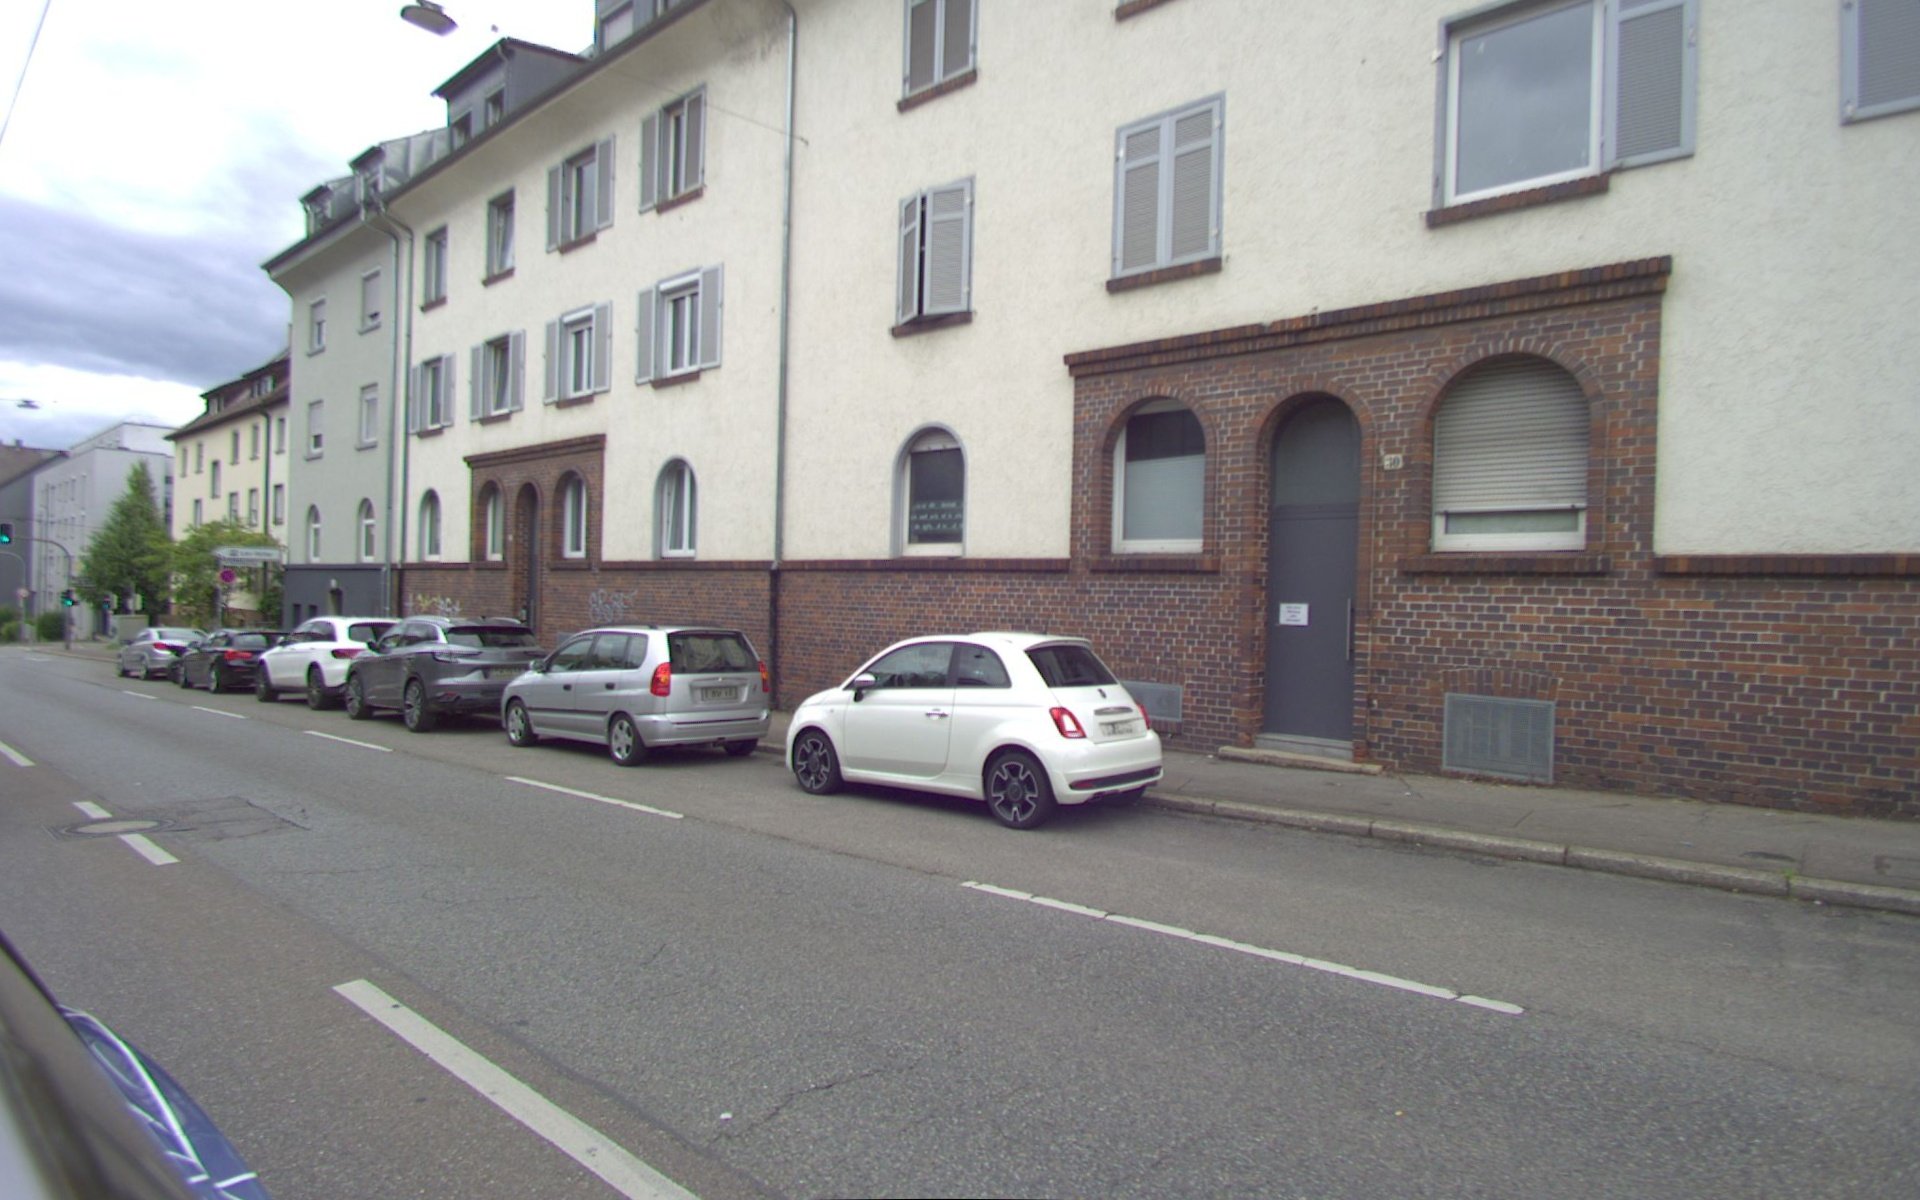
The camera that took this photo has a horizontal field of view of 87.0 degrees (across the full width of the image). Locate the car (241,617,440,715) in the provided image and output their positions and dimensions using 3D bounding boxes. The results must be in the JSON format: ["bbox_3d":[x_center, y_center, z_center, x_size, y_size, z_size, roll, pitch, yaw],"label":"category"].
[{"bbox_3d":[-11.758,1.168,19.092,4.640,1.634,1.826,-1,-3,40],"label":"car"}]

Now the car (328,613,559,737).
[{"bbox_3d":[-7.960,1.047,15.390,4.502,1.611,1.708,-2,-3,43],"label":"car"}]

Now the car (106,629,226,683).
[{"bbox_3d":[-21.816,1.490,27.750,4.333,1.384,1.709,-1,-3,40],"label":"car"}]

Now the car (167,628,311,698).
[{"bbox_3d":[-16.393,1.363,22.947,4.189,1.440,1.709,-2,-3,41],"label":"car"}]

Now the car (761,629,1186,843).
[{"bbox_3d":[-0.003,1.007,8.877,3.602,1.486,1.531,-1,-3,41],"label":"car"}]

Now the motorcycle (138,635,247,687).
[{"bbox_3d":[-19.364,1.542,25.599,0.802,1.245,2.030,-1,-4,23],"label":"motorcycle"}]

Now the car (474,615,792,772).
[{"bbox_3d":[-4.035,1.019,12.183,4.079,1.570,1.709,-1,-4,41],"label":"car"}]

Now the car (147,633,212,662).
[{"bbox_3d":[-44.208,2.689,57.295,4.252,1.549,1.797,-3,-5,37],"label":"car"}]
